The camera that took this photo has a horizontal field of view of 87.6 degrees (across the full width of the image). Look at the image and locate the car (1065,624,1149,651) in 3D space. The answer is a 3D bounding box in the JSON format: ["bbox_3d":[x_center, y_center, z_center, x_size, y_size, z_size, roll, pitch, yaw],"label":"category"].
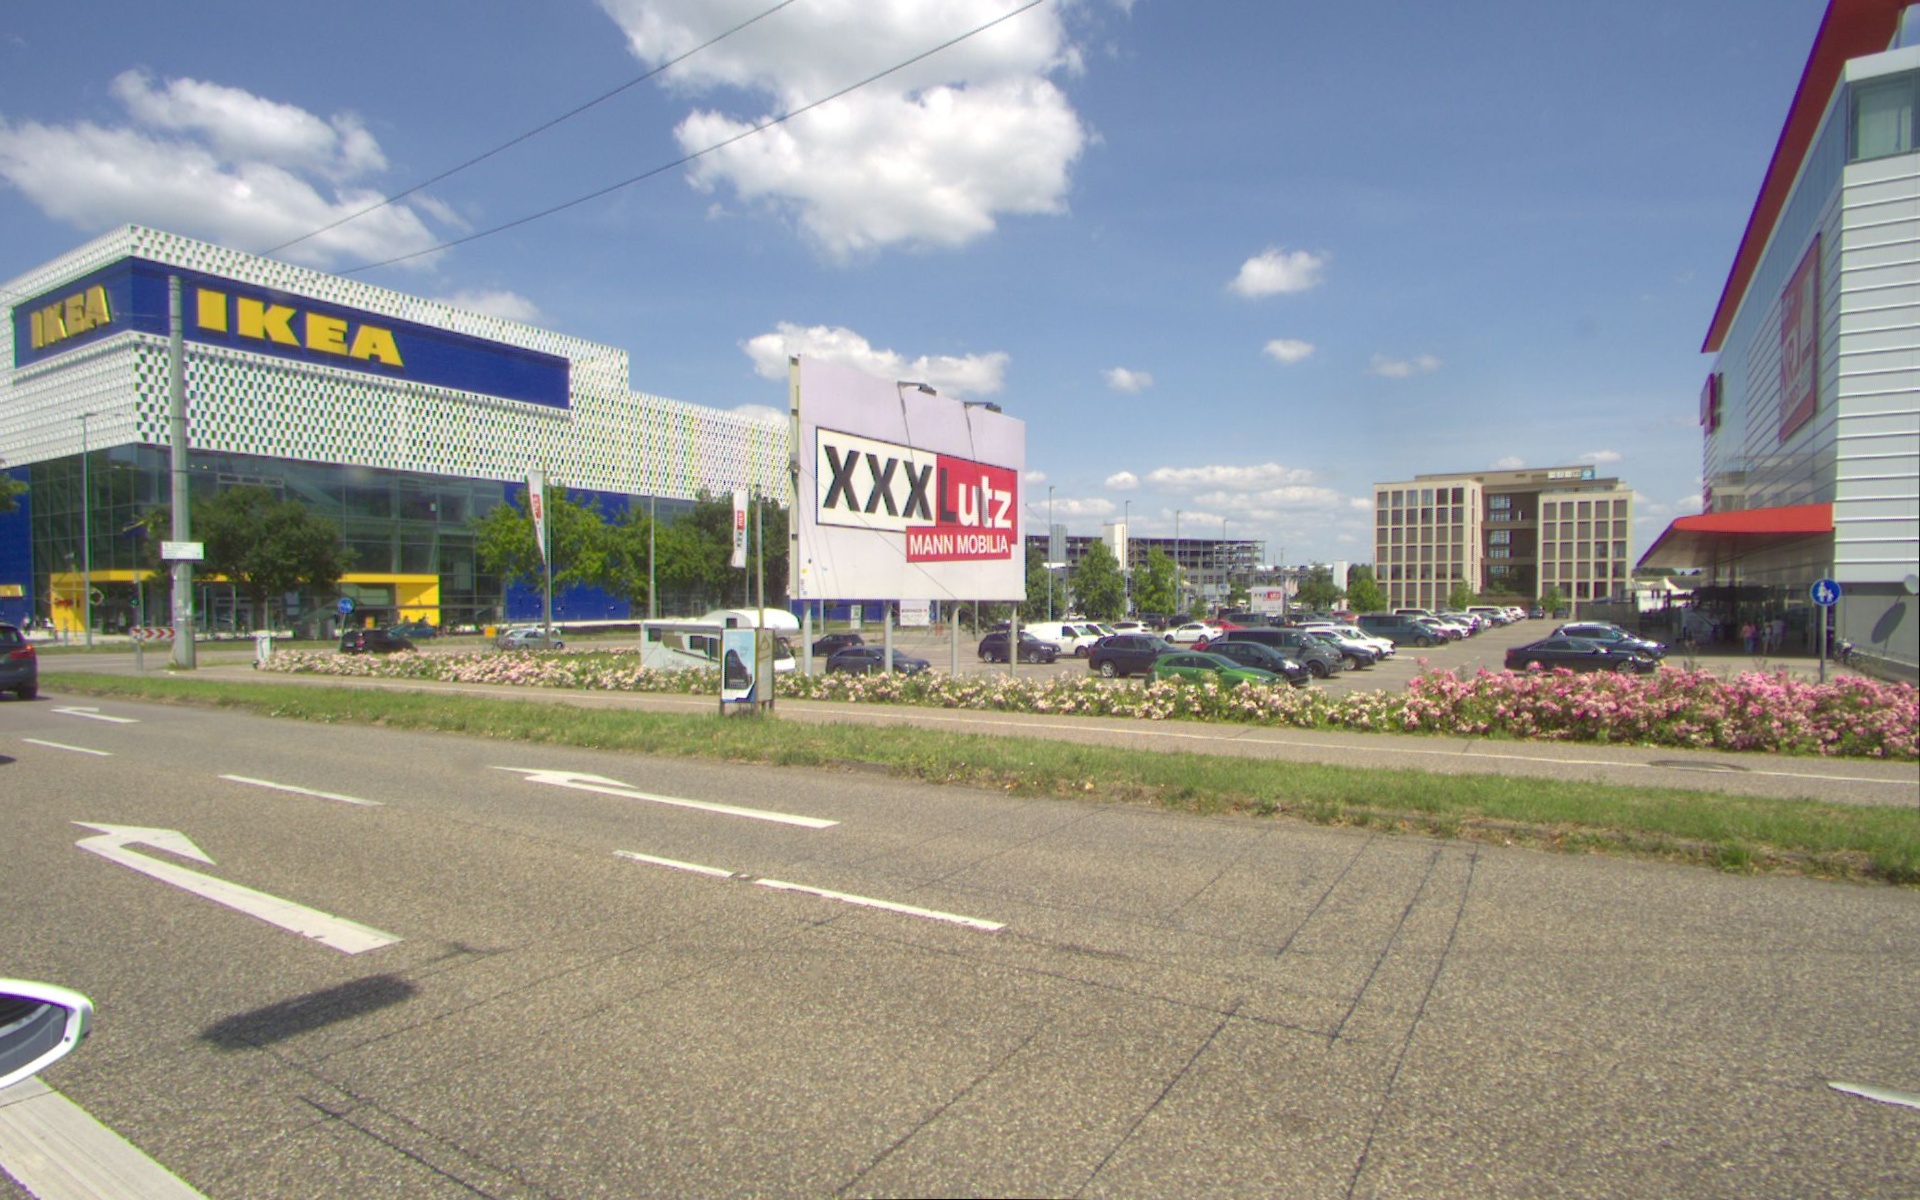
[{"bbox_3d":[9.337,2.385,63.654,4.929,1.631,1.990,-1,-1,33],"label":"car"}]

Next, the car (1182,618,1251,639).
[{"bbox_3d":[20.396,2.236,79.669,4.929,1.631,1.990,-1,-1,33],"label":"car"}]

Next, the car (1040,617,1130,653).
[{"bbox_3d":[7.334,2.056,58.892,4.929,2.033,1.990,-1,-1,33],"label":"car"}]

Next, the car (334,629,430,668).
[{"bbox_3d":[-31.865,2.628,55.293,1.970,2.040,4.178,-1,-1,29],"label":"car"}]

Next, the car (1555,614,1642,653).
[{"bbox_3d":[35.057,1.826,55.096,3.943,2.040,1.990,-1,-1,32],"label":"car"}]

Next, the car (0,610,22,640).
[{"bbox_3d":[-50.613,1.211,50.558,1.974,1.505,4.485,0,-2,36],"label":"car"}]

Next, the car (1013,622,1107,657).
[{"bbox_3d":[5.661,2.203,56.903,4.929,1.876,1.990,-1,-1,33],"label":"car"}]

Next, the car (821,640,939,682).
[{"bbox_3d":[-3.402,2.524,42.161,4.701,1.558,1.989,-1,1,33],"label":"car"}]

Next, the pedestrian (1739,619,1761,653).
[{"bbox_3d":[37.723,1.706,47.816,0.725,1.578,0.739,0,-1,30],"label":"pedestrian"}]

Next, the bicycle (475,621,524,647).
[{"bbox_3d":[-26.841,1.965,58.365,0.976,1.500,2.415,0,-1,37],"label":"bicycle"}]

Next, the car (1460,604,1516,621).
[{"bbox_3d":[54.656,1.306,103.662,4.929,1.631,1.990,-1,-1,33],"label":"car"}]

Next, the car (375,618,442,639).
[{"bbox_3d":[-40.103,2.077,72.840,1.974,1.505,3.779,0,-2,36],"label":"car"}]

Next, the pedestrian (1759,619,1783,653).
[{"bbox_3d":[37.811,1.685,46.690,0.725,1.578,0.739,0,-1,30],"label":"pedestrian"}]

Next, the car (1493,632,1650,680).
[{"bbox_3d":[22.892,2.045,37.626,4.929,1.631,1.990,-1,-1,33],"label":"car"}]

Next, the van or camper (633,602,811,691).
[{"bbox_3d":[-9.018,1.661,37.576,7.129,3.059,2.499,-1,-1,36],"label":"van or camper"}]

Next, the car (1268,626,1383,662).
[{"bbox_3d":[17.710,2.098,48.607,4.929,1.631,1.990,-1,-1,33],"label":"car"}]

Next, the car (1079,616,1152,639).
[{"bbox_3d":[11.397,1.997,73.461,4.922,1.631,1.993,0,-1,27],"label":"car"}]

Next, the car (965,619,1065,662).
[{"bbox_3d":[2.868,2.080,52.851,4.929,2.162,1.990,0,-1,33],"label":"car"}]

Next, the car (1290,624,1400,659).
[{"bbox_3d":[19.502,2.066,50.771,4.929,1.672,1.990,-1,-1,33],"label":"car"}]

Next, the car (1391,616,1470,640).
[{"bbox_3d":[33.324,1.973,70.971,4.929,1.631,1.990,-1,-1,33],"label":"car"}]

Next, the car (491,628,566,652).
[{"bbox_3d":[-27.959,2.605,64.979,1.968,1.505,4.154,0,-2,26],"label":"car"}]

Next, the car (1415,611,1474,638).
[{"bbox_3d":[37.528,1.885,77.548,3.943,2.040,1.990,-1,-1,32],"label":"car"}]

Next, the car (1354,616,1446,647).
[{"bbox_3d":[27.582,1.941,62.783,5.106,1.889,1.991,0,-1,31],"label":"car"}]

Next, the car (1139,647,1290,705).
[{"bbox_3d":[8.077,2.356,31.826,4.242,1.517,1.988,-1,2,33],"label":"car"}]

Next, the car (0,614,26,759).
[{"bbox_3d":[-11.833,0.860,10.651,3.943,1.473,1.834,0,-2,33],"label":"car"}]

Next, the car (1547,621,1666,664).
[{"bbox_3d":[28.059,1.834,43.603,4.271,1.804,1.990,-1,-2,33],"label":"car"}]

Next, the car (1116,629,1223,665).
[{"bbox_3d":[10.594,2.351,50.731,4.929,1.632,1.989,-1,0,33],"label":"car"}]

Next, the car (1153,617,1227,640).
[{"bbox_3d":[16.817,2.082,73.201,4.929,1.631,1.990,-1,-1,33],"label":"car"}]

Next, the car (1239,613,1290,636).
[{"bbox_3d":[27.219,2.166,89.496,3.943,2.040,1.990,-1,-1,32],"label":"car"}]

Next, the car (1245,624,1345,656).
[{"bbox_3d":[18.383,2.171,54.992,4.928,1.631,1.990,-1,-1,32],"label":"car"}]

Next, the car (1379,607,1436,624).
[{"bbox_3d":[44.168,1.516,98.769,4.929,1.631,1.990,-1,-1,33],"label":"car"}]

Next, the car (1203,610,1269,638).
[{"bbox_3d":[23.059,1.991,83.748,4.929,2.333,1.990,0,-1,33],"label":"car"}]

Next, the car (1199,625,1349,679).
[{"bbox_3d":[12.532,2.026,40.109,5.456,2.040,1.990,-1,-1,33],"label":"car"}]

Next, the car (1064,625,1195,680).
[{"bbox_3d":[6.923,2.087,41.064,4.929,2.041,1.989,-1,1,33],"label":"car"}]

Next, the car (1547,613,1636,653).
[{"bbox_3d":[33.401,1.746,53.055,3.943,2.040,1.990,0,-1,32],"label":"car"}]

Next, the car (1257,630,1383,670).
[{"bbox_3d":[15.815,2.170,44.099,4.929,1.631,1.990,-1,-1,33],"label":"car"}]

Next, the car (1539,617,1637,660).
[{"bbox_3d":[30.372,1.834,48.558,3.943,2.040,1.990,-1,-1,32],"label":"car"}]

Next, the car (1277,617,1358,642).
[{"bbox_3d":[24.479,1.991,68.553,4.929,1.631,1.990,-1,-1,33],"label":"car"}]

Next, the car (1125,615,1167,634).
[{"bbox_3d":[19.111,2.504,103.014,3.943,1.863,1.819,-1,-1,32],"label":"car"}]

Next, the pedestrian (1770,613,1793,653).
[{"bbox_3d":[38.719,1.553,47.197,0.725,1.893,0.739,0,-1,30],"label":"pedestrian"}]

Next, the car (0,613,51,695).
[{"bbox_3d":[-19.803,1.026,19.818,4.042,1.546,1.757,0,-1,33],"label":"car"}]

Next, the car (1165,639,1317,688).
[{"bbox_3d":[10.064,2.236,35.991,4.929,1.570,1.990,-1,-1,33],"label":"car"}]

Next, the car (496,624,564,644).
[{"bbox_3d":[-33.348,2.655,77.759,1.974,1.505,4.485,0,-2,36],"label":"car"}]

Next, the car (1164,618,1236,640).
[{"bbox_3d":[18.002,2.172,75.242,4.929,1.631,1.990,-1,-1,33],"label":"car"}]
